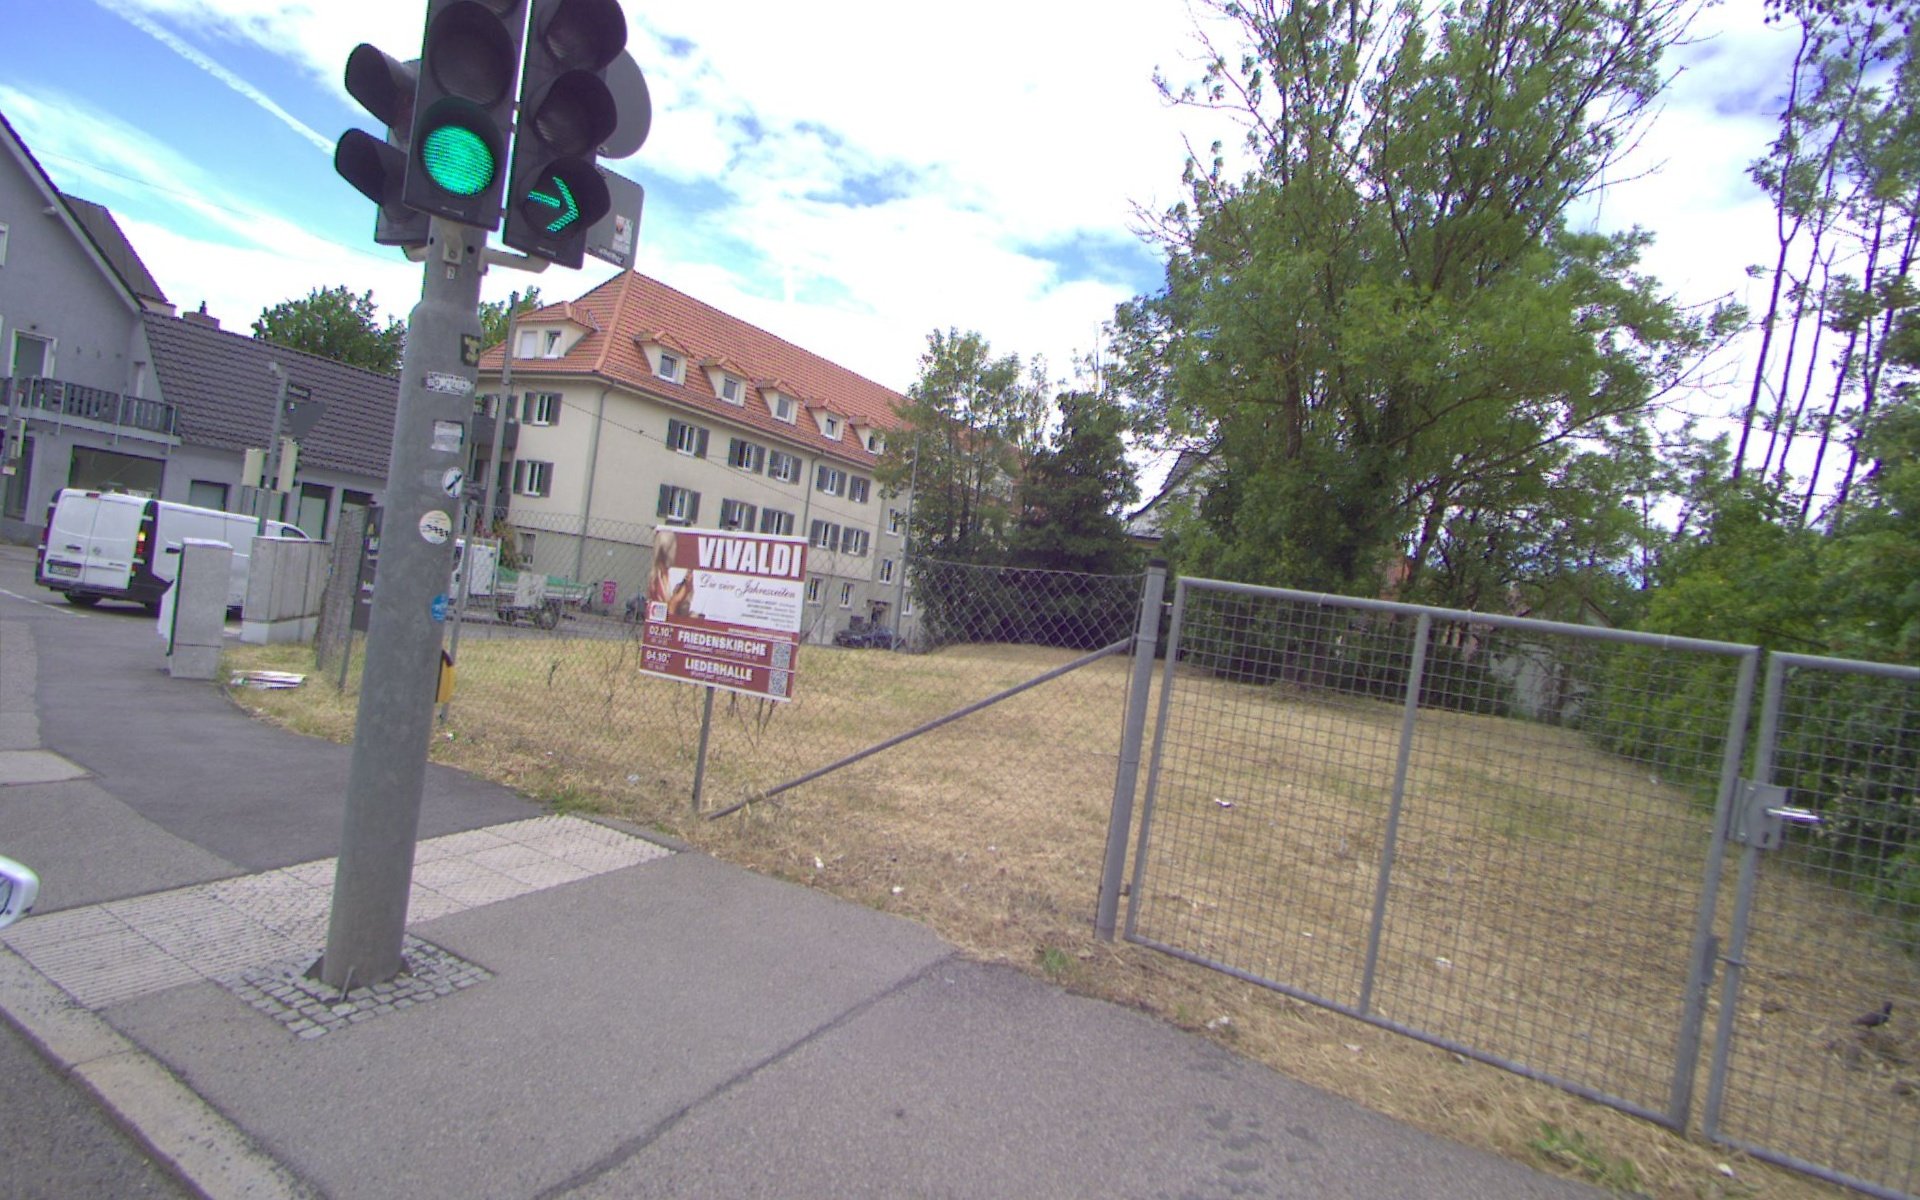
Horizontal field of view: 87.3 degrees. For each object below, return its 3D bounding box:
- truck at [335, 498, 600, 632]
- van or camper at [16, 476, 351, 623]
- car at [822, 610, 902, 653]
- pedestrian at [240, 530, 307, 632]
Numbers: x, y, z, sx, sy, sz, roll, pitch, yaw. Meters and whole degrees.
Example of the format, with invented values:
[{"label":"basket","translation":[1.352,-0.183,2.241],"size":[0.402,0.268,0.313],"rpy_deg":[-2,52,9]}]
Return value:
[{"label":"truck","translation":[-13.551,-0.834,28.297],"size":[1.967,2.730,6.403],"rpy_deg":[7,-3,31]},{"label":"van or camper","translation":[-14.006,-0.754,18.694],"size":[1.964,2.036,5.098],"rpy_deg":[9,-1,1]},{"label":"car","translation":[-5.102,1.667,52.873],"size":[1.968,1.770,3.992],"rpy_deg":[6,-2,33]},{"label":"pedestrian","translation":[-11.436,-0.318,16.765],"size":[0.599,1.616,0.606],"rpy_deg":[4,-2,30]}]
